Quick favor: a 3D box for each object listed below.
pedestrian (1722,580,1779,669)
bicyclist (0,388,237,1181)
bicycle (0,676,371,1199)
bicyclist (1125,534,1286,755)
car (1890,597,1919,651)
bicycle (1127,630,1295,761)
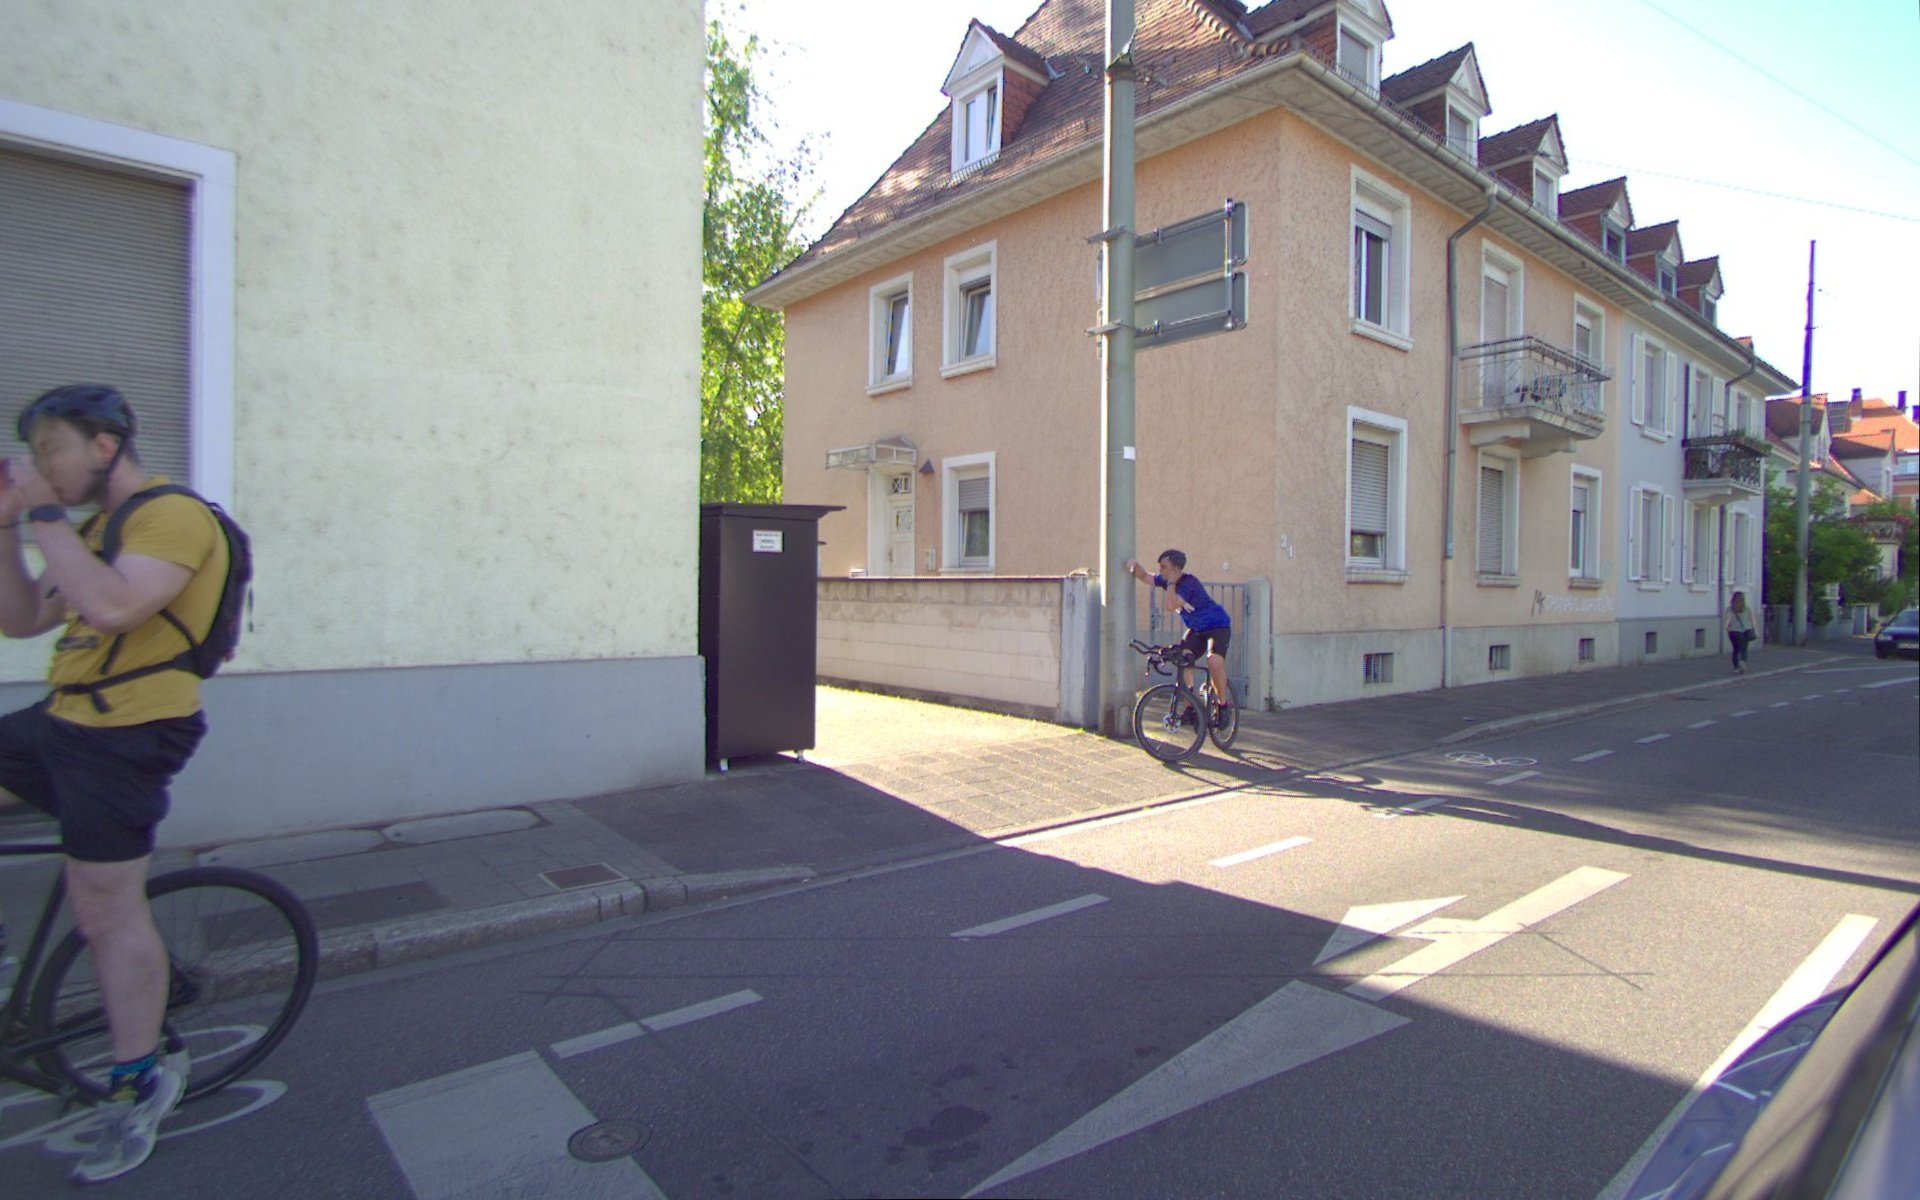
[{"bbox_3d":[15.495,0.462,19.828,1.079,1.682,0.694,0,0,-41],"label":"pedestrian"},{"bbox_3d":[-2.484,0.423,2.550,1.018,1.840,0.653,0,1,-41],"label":"bicyclist"},{"bbox_3d":[-2.485,0.845,2.537,1.669,1.180,0.572,0,1,-41],"label":"bicycle"},{"bbox_3d":[2.275,0.362,9.436,0.831,1.887,1.076,0,4,-40],"label":"bicyclist"},{"bbox_3d":[26.688,0.633,27.348,3.796,1.382,1.648,0,1,-38],"label":"car"},{"bbox_3d":[2.308,0.819,9.211,1.669,1.003,0.572,0,4,-41],"label":"bicycle"}]
